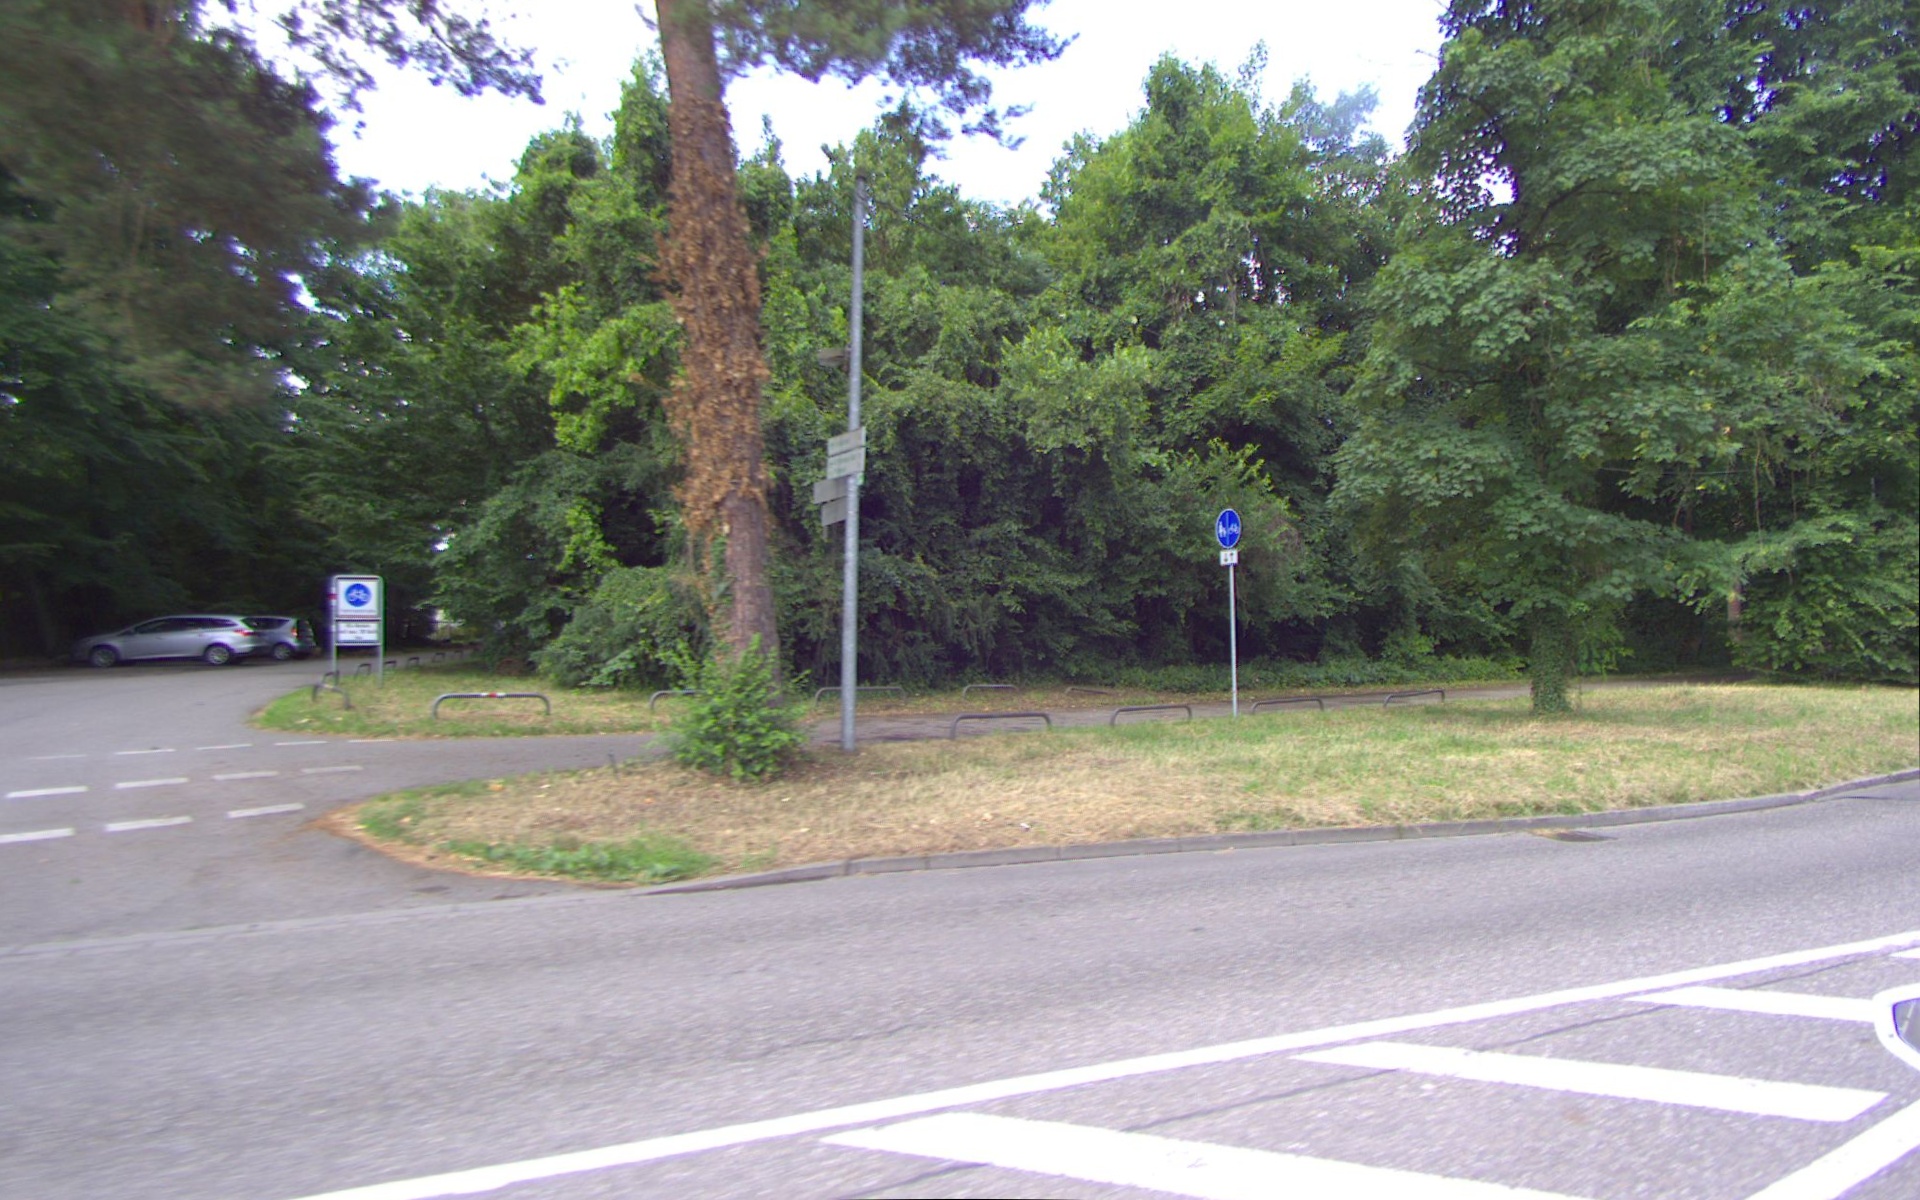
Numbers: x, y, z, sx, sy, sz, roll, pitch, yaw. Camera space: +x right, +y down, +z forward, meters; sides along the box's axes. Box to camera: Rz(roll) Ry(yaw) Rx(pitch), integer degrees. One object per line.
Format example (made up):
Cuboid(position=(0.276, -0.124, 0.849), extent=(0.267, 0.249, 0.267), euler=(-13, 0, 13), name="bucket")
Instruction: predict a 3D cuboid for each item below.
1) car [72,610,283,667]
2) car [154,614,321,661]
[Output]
Cuboid(position=(-22.600, 1.091, 29.263), extent=(4.455, 1.561, 1.920), euler=(1, -2, -24), name="car")
Cuboid(position=(-25.390, 1.311, 35.499), extent=(4.457, 1.561, 1.920), euler=(1, -2, -25), name="car")
